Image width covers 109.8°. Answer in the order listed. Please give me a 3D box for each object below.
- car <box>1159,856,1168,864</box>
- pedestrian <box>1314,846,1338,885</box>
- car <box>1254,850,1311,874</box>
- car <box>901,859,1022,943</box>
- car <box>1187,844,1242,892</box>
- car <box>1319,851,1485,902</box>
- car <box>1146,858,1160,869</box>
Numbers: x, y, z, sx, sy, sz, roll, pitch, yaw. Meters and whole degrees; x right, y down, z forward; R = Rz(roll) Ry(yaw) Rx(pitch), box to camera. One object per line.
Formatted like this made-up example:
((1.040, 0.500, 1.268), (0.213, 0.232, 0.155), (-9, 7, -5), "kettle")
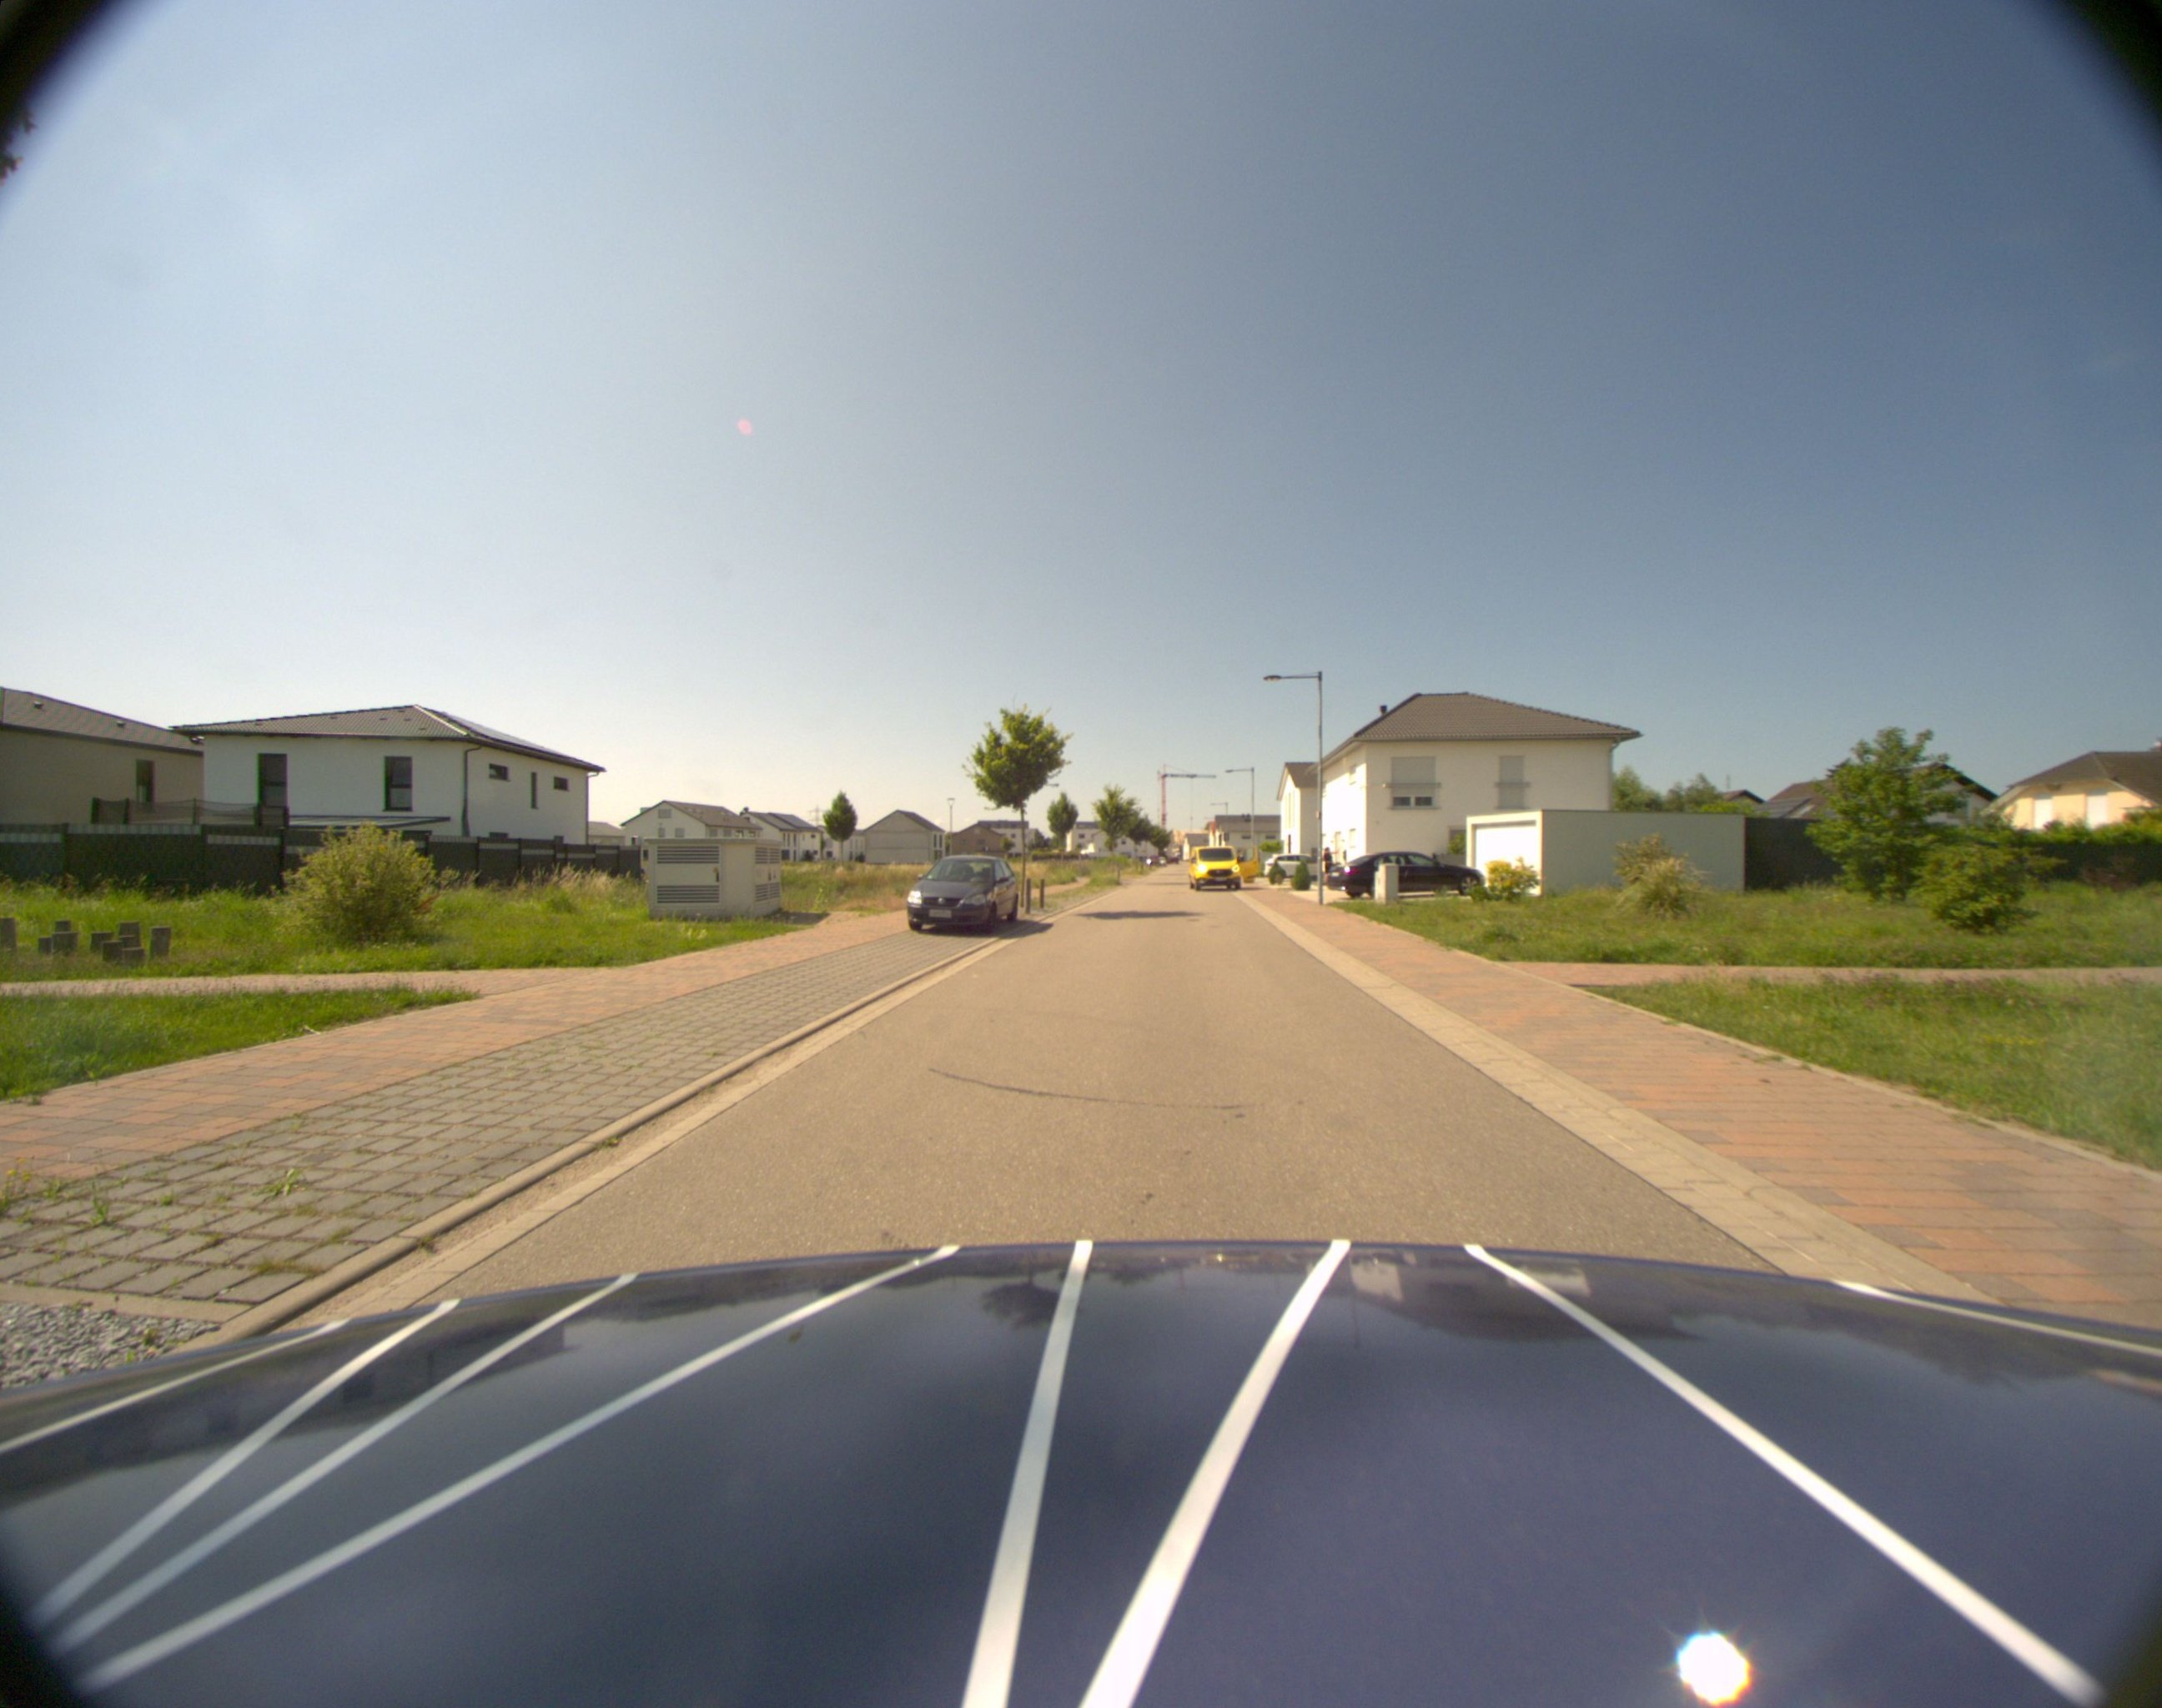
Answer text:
((13.591, 0.966, 125.186), (1.492, 1.389, 3.274), (0, 0, 8), "car")
((10.834, 0.523, 33.544), (0.931, 1.675, 0.538), (-3, 0, 17), "pedestrian")
((15.247, 0.604, 57.750), (3.994, 1.841, 2.001), (0, 0, 9), "car")
((-2.341, 0.863, 15.748), (1.601, 1.466, 3.676), (2, 0, 5), "car")
((5.993, 0.583, 34.646), (1.888, 2.002, 4.842), (-1, 0, 4), "car")
((9.903, 0.669, 23.609), (4.406, 1.444, 1.748), (-1, 0, -5), "car")
((10.111, 1.255, 106.465), (1.767, 1.483, 4.002), (0, 0, 8), "car")
